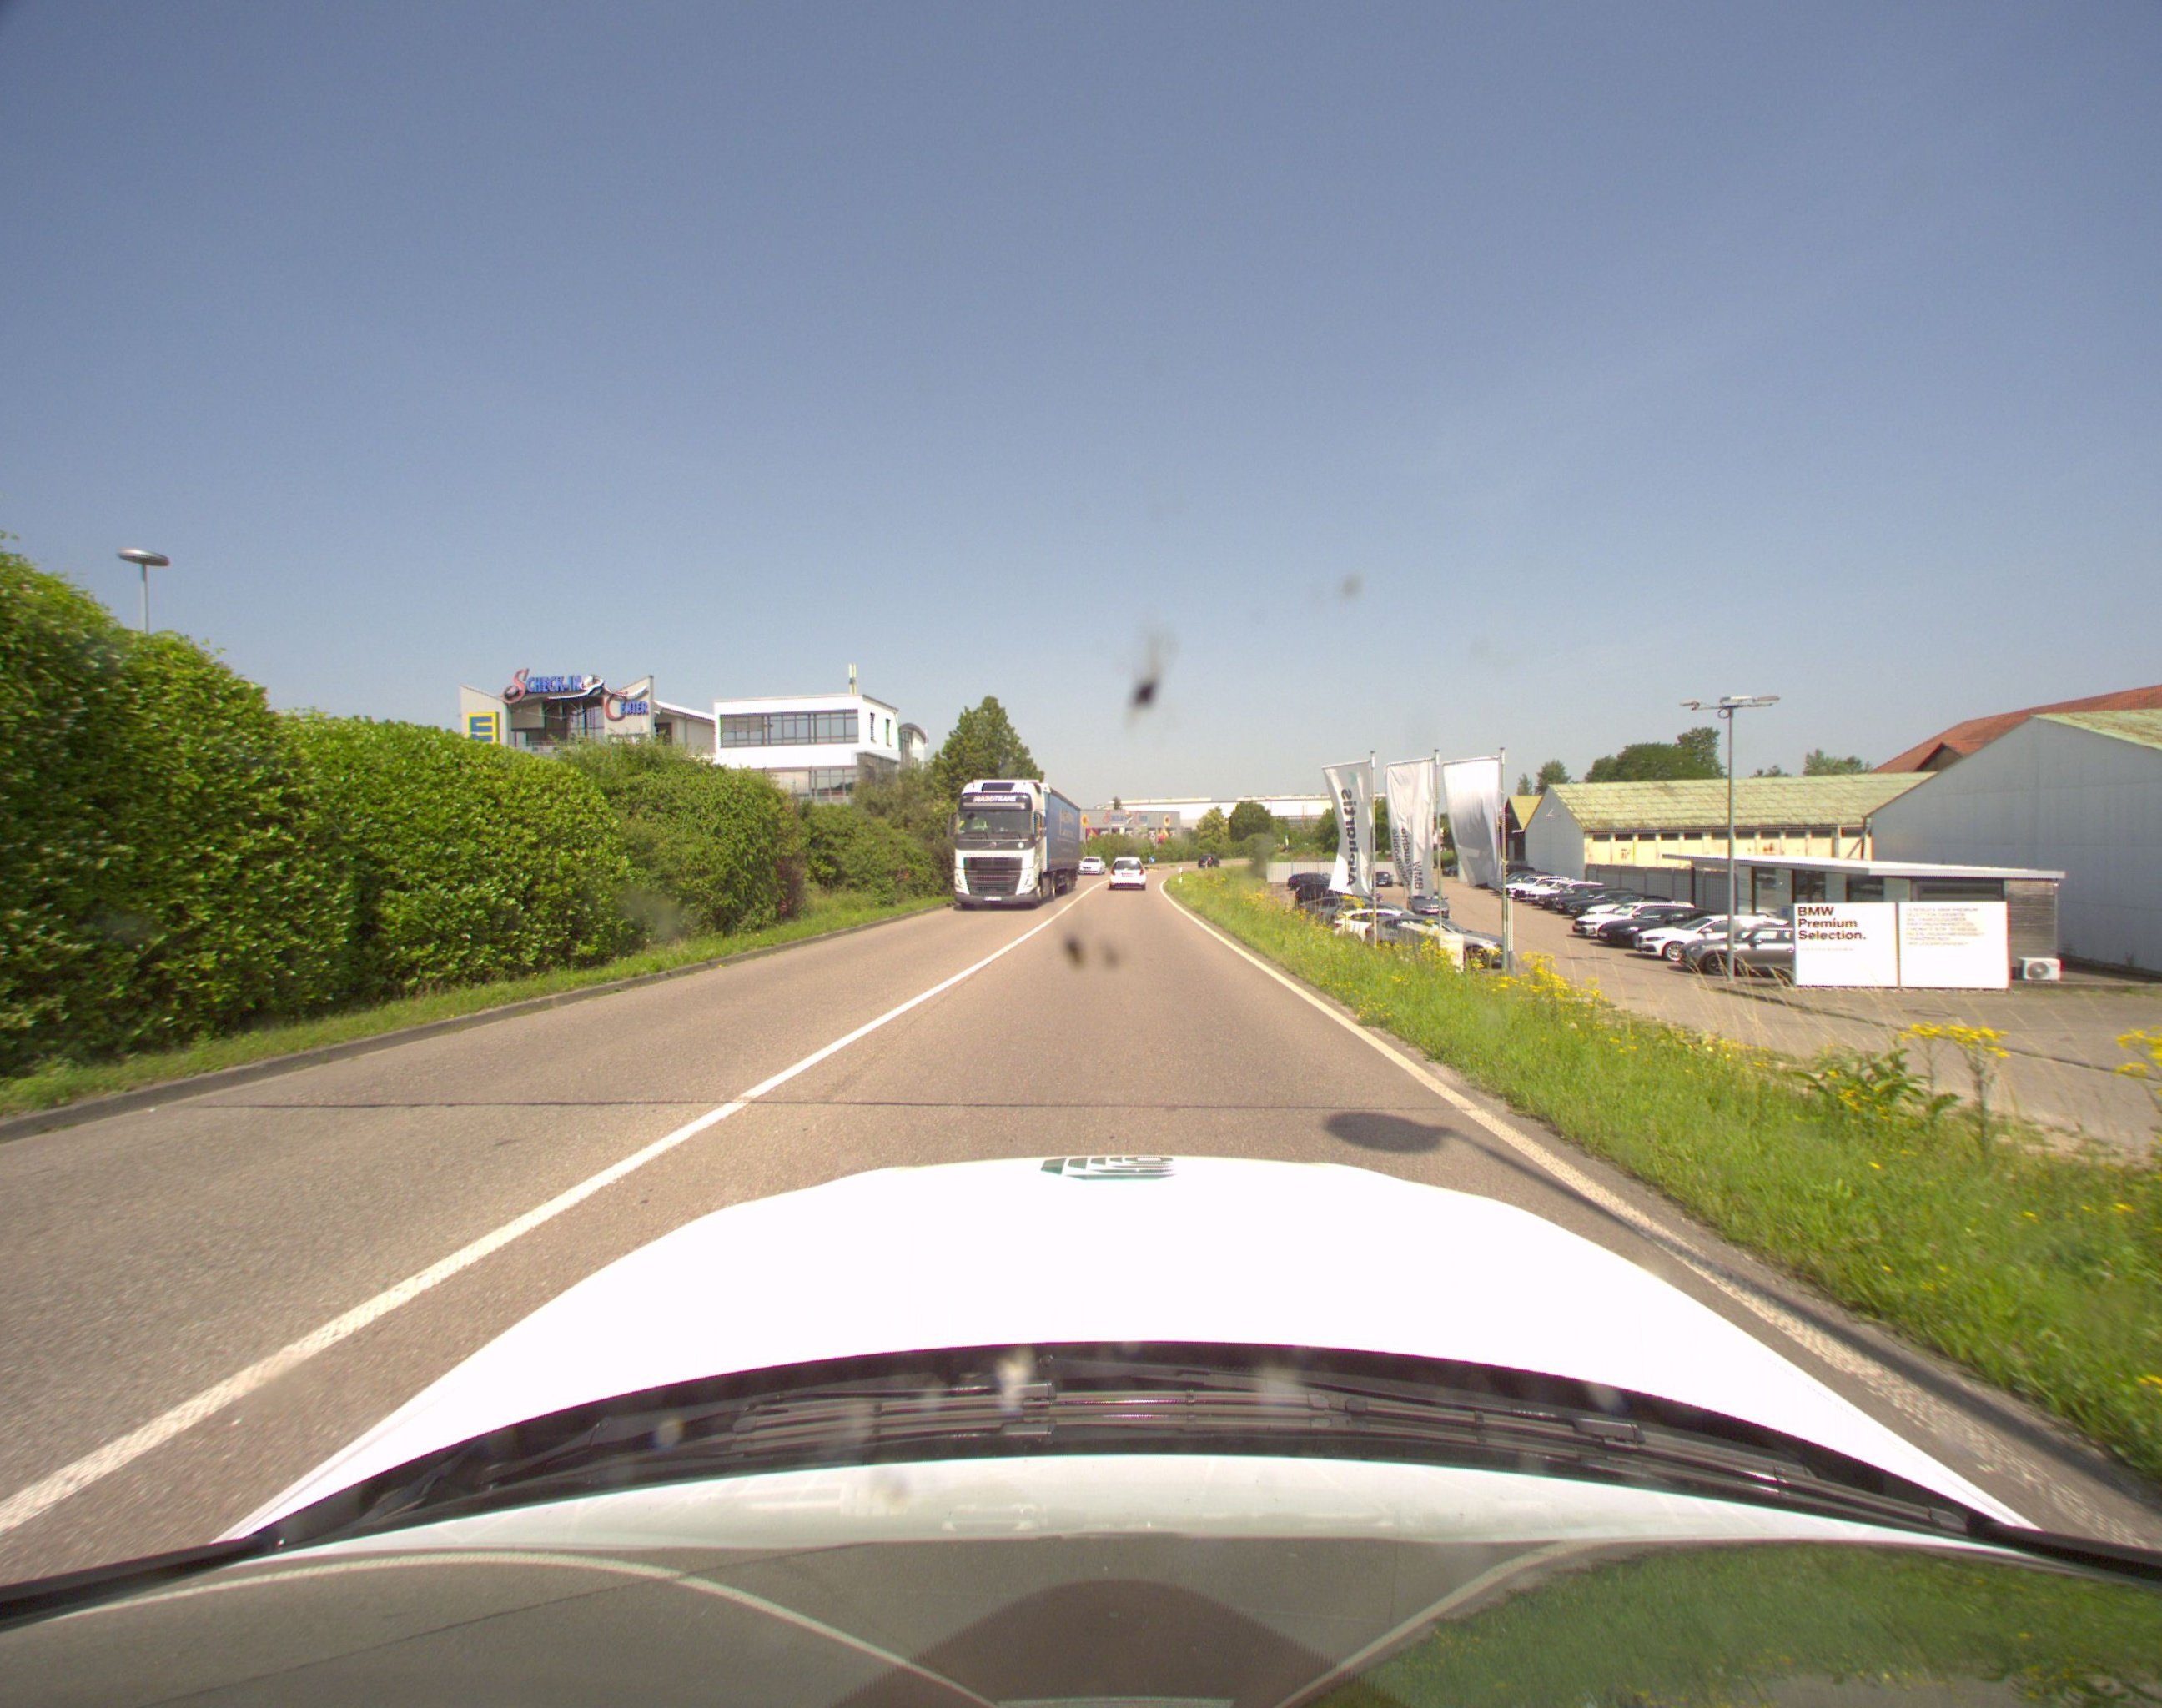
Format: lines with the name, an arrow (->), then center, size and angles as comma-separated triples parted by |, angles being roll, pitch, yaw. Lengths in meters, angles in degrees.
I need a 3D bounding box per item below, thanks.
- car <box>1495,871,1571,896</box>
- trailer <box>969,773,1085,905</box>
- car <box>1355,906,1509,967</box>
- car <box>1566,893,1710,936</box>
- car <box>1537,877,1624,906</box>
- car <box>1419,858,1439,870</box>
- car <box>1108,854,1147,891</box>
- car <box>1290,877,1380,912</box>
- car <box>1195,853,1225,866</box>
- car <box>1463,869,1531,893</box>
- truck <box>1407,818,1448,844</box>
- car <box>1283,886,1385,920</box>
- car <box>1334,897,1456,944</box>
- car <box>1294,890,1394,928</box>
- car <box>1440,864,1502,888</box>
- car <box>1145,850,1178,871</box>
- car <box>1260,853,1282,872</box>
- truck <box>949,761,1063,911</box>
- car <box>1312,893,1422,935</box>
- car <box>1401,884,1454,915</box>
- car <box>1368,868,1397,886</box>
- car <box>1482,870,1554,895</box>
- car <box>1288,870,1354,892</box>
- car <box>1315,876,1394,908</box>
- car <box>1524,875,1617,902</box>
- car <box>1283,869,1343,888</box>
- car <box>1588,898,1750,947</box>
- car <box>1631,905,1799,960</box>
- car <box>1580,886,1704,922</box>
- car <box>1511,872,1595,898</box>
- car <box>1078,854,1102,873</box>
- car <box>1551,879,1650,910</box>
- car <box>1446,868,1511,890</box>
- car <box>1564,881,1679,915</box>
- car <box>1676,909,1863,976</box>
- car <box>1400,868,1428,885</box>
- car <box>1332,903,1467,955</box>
car -> 31.163, 2.030, 56.166 | 4.322, 1.523, 1.906 | -1, 1, -9
trailer -> -1.714, -0.467, 33.530 | 2.658, 4.241, 14.584 | 0, 0, 5
car -> 10.883, 2.488, 25.339 | 4.118, 1.523, 1.701 | 0, 0, 36
car -> 22.338, 2.414, 32.821 | 4.401, 1.523, 1.936 | -1, -1, 7
car -> 28.755, 2.134, 46.911 | 3.988, 1.523, 1.756 | -1, -1, -4
car -> 43.070, 1.197, 100.799 | 1.975, 1.398, 4.024 | 0, 0, 28
car -> 2.274, 0.872, 40.377 | 1.774, 1.603, 3.896 | 3, 1, 2
car -> 14.570, 2.284, 46.825 | 4.583, 1.700, 1.868 | 0, 2, 36
car -> 14.292, 0.609, 90.117 | 1.811, 1.470, 4.437 | 0, 0, 30
car -> 31.524, 2.029, 61.713 | 4.322, 1.576, 1.906 | -1, 1, -9
truck -> 56.649, -3.757, 133.143 | 6.747, 4.030, 2.861 | 0, 0, -33
car -> 12.767, 2.436, 41.244 | 4.583, 1.523, 1.868 | 0, 0, 34
car -> 12.018, 2.487, 31.223 | 4.119, 1.523, 1.868 | 0, 0, 31
car -> 12.288, 2.526, 38.152 | 4.118, 1.523, 1.868 | 0, 0, 31
car -> 31.840, 1.790, 66.517 | 4.322, 1.804, 1.906 | -1, 1, -9
car -> 8.092, 0.670, 81.730 | 1.975, 2.014, 4.023 | 0, 0, 26
car -> 20.281, 0.917, 86.835 | 1.978, 2.014, 4.017 | 0, 0, 16
truck -> -2.245, -0.503, 26.556 | 2.501, 4.257, 6.121 | -2, 0, 5
car -> 12.174, 2.513, 34.694 | 4.118, 1.523, 1.868 | 0, 0, 31
car -> 18.760, 2.436, 44.313 | 2.119, 1.457, 4.551 | 0, 0, 16
car -> 27.598, 2.073, 74.470 | 1.833, 1.534, 4.671 | 0, 0, 28
car -> 31.563, 2.029, 58.822 | 4.322, 1.576, 1.906 | -1, 1, -9
car -> 18.819, 2.087, 63.888 | 4.584, 1.605, 1.868 | 0, 0, 31
car -> 16.768, 2.290, 50.029 | 4.181, 1.700, 1.931 | 0, 2, 40
car -> 30.123, 2.105, 50.215 | 4.636, 1.523, 1.909 | -1, -1, -4
car -> 20.032, 2.108, 70.281 | 4.583, 1.498, 1.868 | 0, 2, 34
car -> 21.228, 2.448, 29.545 | 4.407, 1.523, 1.933 | -1, 0, 2
car -> 20.119, 2.452, 26.055 | 3.923, 1.523, 1.761 | -1, -1, 23
car -> 26.364, 2.330, 38.390 | 4.594, 1.523, 1.930 | -1, -1, -4
car -> 30.794, 1.996, 53.233 | 4.596, 1.523, 1.906 | -1, 1, -9
car -> 0.756, 0.776, 65.773 | 1.822, 1.470, 4.412 | 0, 0, 2
car -> 28.165, 2.191, 44.193 | 4.304, 1.523, 1.794 | -1, -1, -4
car -> 31.360, 1.937, 64.322 | 4.322, 1.523, 1.906 | -1, 1, -9
car -> 27.219, 2.191, 41.108 | 4.594, 1.523, 1.930 | -1, -1, -4
car -> 19.234, 2.425, 22.970 | 3.755, 1.523, 1.762 | 0, 0, 29
car -> 29.969, 1.994, 73.201 | 1.975, 1.398, 4.024 | 0, 0, 28
car -> 11.059, 2.549, 28.344 | 4.118, 1.523, 1.762 | 0, 0, 31
